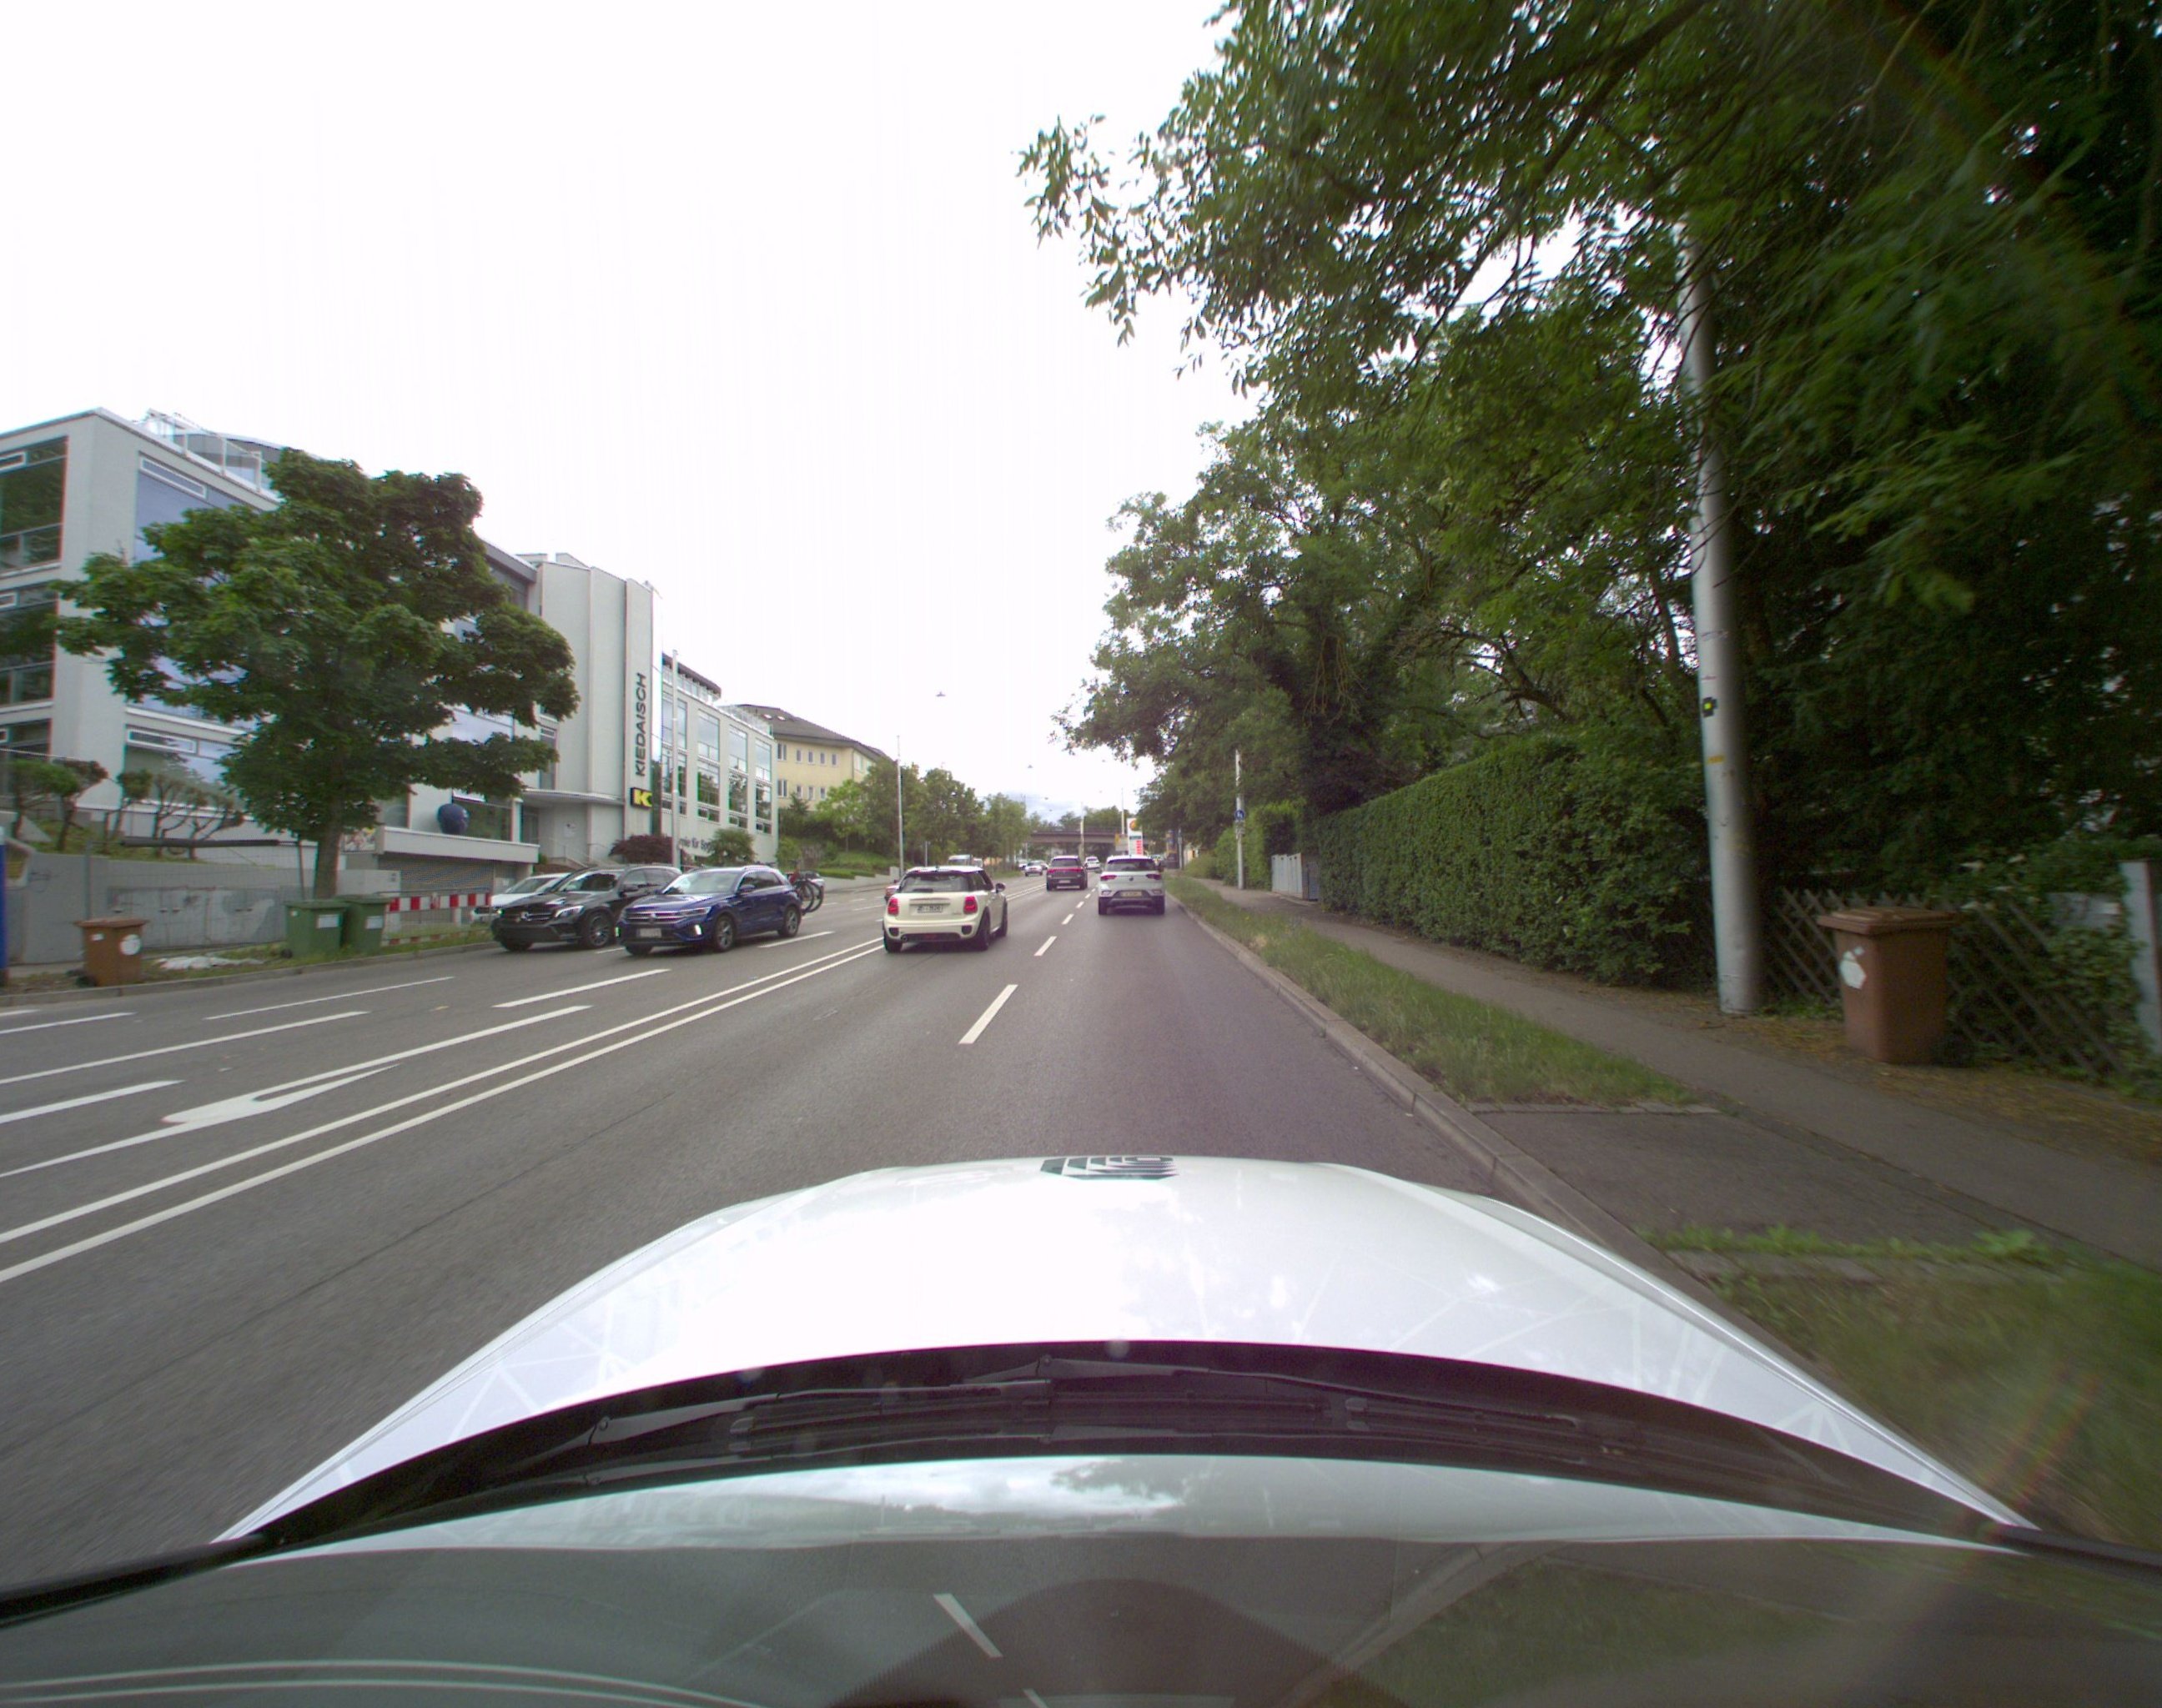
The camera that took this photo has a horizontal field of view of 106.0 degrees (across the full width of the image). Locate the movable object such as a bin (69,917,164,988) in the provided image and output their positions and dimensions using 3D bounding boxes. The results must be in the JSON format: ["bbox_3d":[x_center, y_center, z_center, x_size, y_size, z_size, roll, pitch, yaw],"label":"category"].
[{"bbox_3d":[-13.286,1.341,11.240,0.662,0.879,0.641,0,-1,-29],"label":"movable object such as a bin"}]

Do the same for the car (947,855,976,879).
[{"bbox_3d":[-12.032,1.275,82.399,2.062,2.306,5.463,-1,0,0],"label":"car"}]

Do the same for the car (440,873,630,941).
[{"bbox_3d":[-14.067,1.299,21.351,1.762,1.499,4.311,-1,0,6],"label":"car"}]

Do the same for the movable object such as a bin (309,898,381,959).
[{"bbox_3d":[-12.721,1.278,14.084,0.641,0.990,0.662,-1,-1,11],"label":"movable object such as a bin"}]

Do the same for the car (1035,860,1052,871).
[{"bbox_3d":[-5.816,1.753,126.189,1.898,1.542,4.671,-1,0,-13],"label":"car"}]

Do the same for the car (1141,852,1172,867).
[{"bbox_3d":[8.165,0.551,87.860,1.840,1.500,4.080,-2,0,27],"label":"car"}]

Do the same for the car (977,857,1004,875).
[{"bbox_3d":[-8.671,1.149,78.052,2.062,1.580,4.691,-1,0,0],"label":"car"}]

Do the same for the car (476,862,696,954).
[{"bbox_3d":[-10.096,1.017,17.044,1.762,1.634,4.149,-1,0,6],"label":"car"}]

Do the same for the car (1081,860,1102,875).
[{"bbox_3d":[1.139,1.542,94.286,1.856,1.652,4.625,-2,0,-6],"label":"car"}]

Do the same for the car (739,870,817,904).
[{"bbox_3d":[-13.830,1.480,37.439,1.763,1.407,4.146,-1,0,4],"label":"car"}]

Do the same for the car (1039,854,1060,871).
[{"bbox_3d":[-2.997,0.837,78.146,1.890,1.542,4.691,-1,0,0],"label":"car"}]

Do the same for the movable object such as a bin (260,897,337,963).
[{"bbox_3d":[-12.894,1.242,13.431,0.641,1.015,0.662,-1,-1,11],"label":"movable object such as a bin"}]

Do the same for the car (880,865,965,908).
[{"bbox_3d":[-5.712,1.133,29.932,1.732,1.352,4.853,-1,0,6],"label":"car"}]

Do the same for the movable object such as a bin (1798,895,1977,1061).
[{"bbox_3d":[5.026,0.749,5.106,0.553,0.947,0.567,-1,-1,-1],"label":"movable object such as a bin"}]

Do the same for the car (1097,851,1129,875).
[{"bbox_3d":[2.104,0.644,54.745,1.867,1.501,4.553,2,-1,-1],"label":"car"}]

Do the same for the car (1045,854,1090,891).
[{"bbox_3d":[-0.601,0.857,40.129,1.805,1.652,4.641,-2,0,4],"label":"car"}]

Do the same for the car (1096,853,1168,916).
[{"bbox_3d":[1.355,0.786,22.699,1.805,1.539,3.691,-2,0,2],"label":"car"}]

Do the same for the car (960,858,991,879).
[{"bbox_3d":[-8.878,1.186,68.928,2.062,1.656,4.691,-1,0,0],"label":"car"}]

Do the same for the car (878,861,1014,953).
[{"bbox_3d":[-2.303,0.857,14.751,1.621,1.393,3.569,-2,0,4],"label":"car"}]

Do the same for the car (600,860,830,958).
[{"bbox_3d":[-6.973,0.952,16.297,1.761,1.596,5.193,-1,0,7],"label":"car"}]

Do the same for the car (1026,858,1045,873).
[{"bbox_3d":[-4.925,1.190,87.509,1.892,1.542,4.685,-1,0,-4],"label":"car"}]
